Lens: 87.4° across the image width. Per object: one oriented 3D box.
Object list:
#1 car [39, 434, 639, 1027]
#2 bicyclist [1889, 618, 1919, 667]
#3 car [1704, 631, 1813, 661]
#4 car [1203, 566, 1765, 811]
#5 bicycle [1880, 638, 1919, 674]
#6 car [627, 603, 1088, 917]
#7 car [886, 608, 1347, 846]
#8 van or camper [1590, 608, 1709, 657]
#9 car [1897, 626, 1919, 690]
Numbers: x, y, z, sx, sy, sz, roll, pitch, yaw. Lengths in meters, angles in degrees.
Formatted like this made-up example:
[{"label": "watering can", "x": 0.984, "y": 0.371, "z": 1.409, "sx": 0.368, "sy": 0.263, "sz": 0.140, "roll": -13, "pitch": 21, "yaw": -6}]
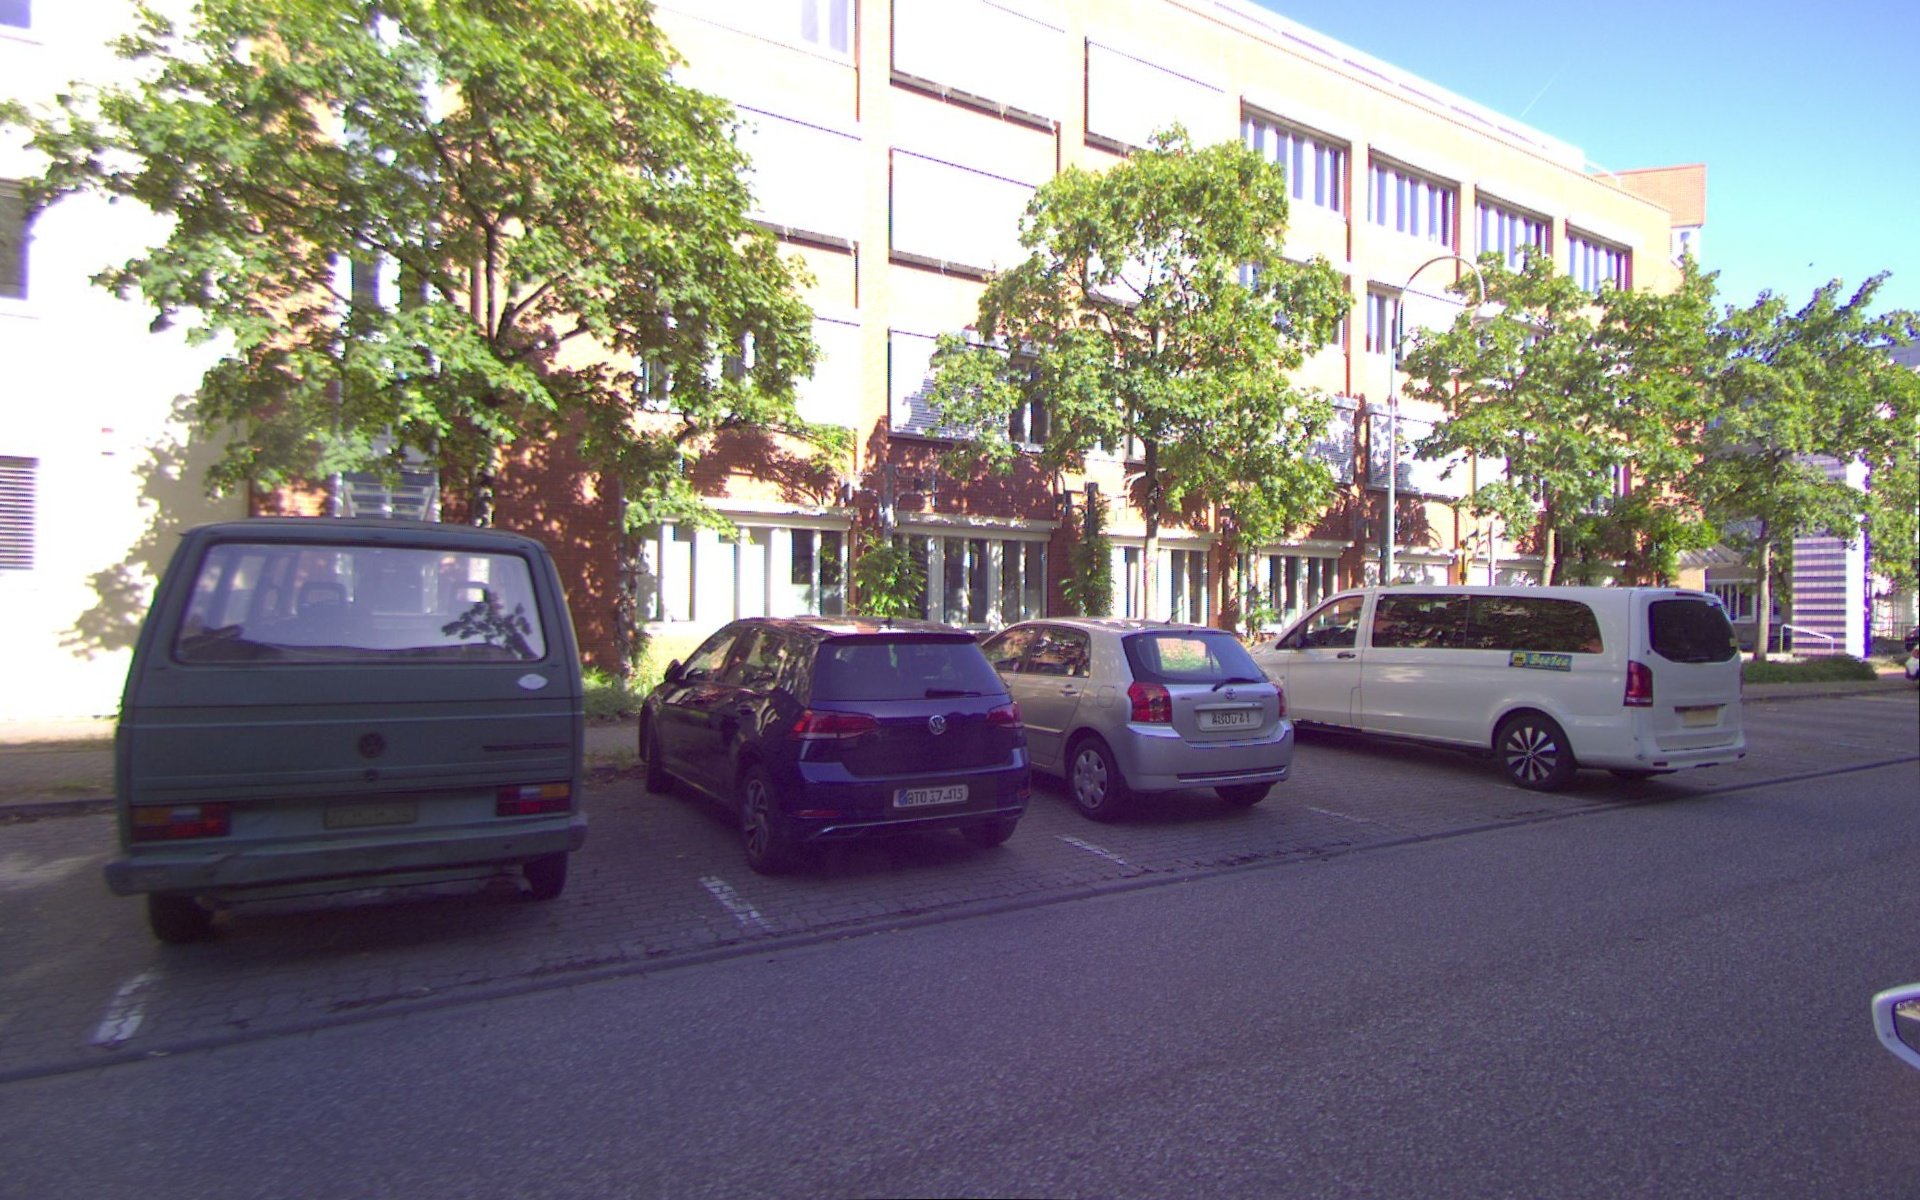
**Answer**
[{"label": "car", "x": -3.396, "y": 0.457, "z": 6.063, "sx": 2.056, "sy": 2.118, "sz": 4.470, "roll": 1, "pitch": 0, "yaw": -27}, {"label": "bicyclist", "x": 26.890, "y": 1.200, "z": 28.427, "sx": 0.901, "sy": 1.371, "sz": 0.603, "roll": 1, "pitch": -1, "yaw": -26}, {"label": "car", "x": 42.990, "y": 2.441, "z": 54.162, "sx": 1.976, "sy": 1.496, "sz": 4.173, "roll": -1, "pitch": -1, "yaw": -29}, {"label": "car", "x": 5.206, "y": 0.702, "z": 10.954, "sx": 1.919, "sy": 1.993, "sz": 5.233, "roll": 1, "pitch": 0, "yaw": -29}, {"label": "bicycle", "x": 26.868, "y": 1.577, "z": 28.414, "sx": 1.839, "sy": 0.994, "sz": 0.603, "roll": 1, "pitch": -1, "yaw": -26}, {"label": "car", "x": -1.086, "y": 0.816, "z": 7.359, "sx": 1.918, "sy": 1.497, "sz": 4.304, "roll": 1, "pitch": 0, "yaw": -27}, {"label": "car", "x": 1.071, "y": 0.871, "z": 9.015, "sx": 1.918, "sy": 1.497, "sz": 4.304, "roll": 1, "pitch": 0, "yaw": -27}, {"label": "van or camper", "x": 40.353, "y": 1.866, "z": 58.945, "sx": 2.155, "sy": 2.710, "sz": 5.344, "roll": -1, "pitch": -1, "yaw": -30}, {"label": "car", "x": 24.057, "y": 1.375, "z": 22.647, "sx": 1.786, "sy": 1.506, "sz": 3.967, "roll": 1, "pitch": 0, "yaw": -30}]
